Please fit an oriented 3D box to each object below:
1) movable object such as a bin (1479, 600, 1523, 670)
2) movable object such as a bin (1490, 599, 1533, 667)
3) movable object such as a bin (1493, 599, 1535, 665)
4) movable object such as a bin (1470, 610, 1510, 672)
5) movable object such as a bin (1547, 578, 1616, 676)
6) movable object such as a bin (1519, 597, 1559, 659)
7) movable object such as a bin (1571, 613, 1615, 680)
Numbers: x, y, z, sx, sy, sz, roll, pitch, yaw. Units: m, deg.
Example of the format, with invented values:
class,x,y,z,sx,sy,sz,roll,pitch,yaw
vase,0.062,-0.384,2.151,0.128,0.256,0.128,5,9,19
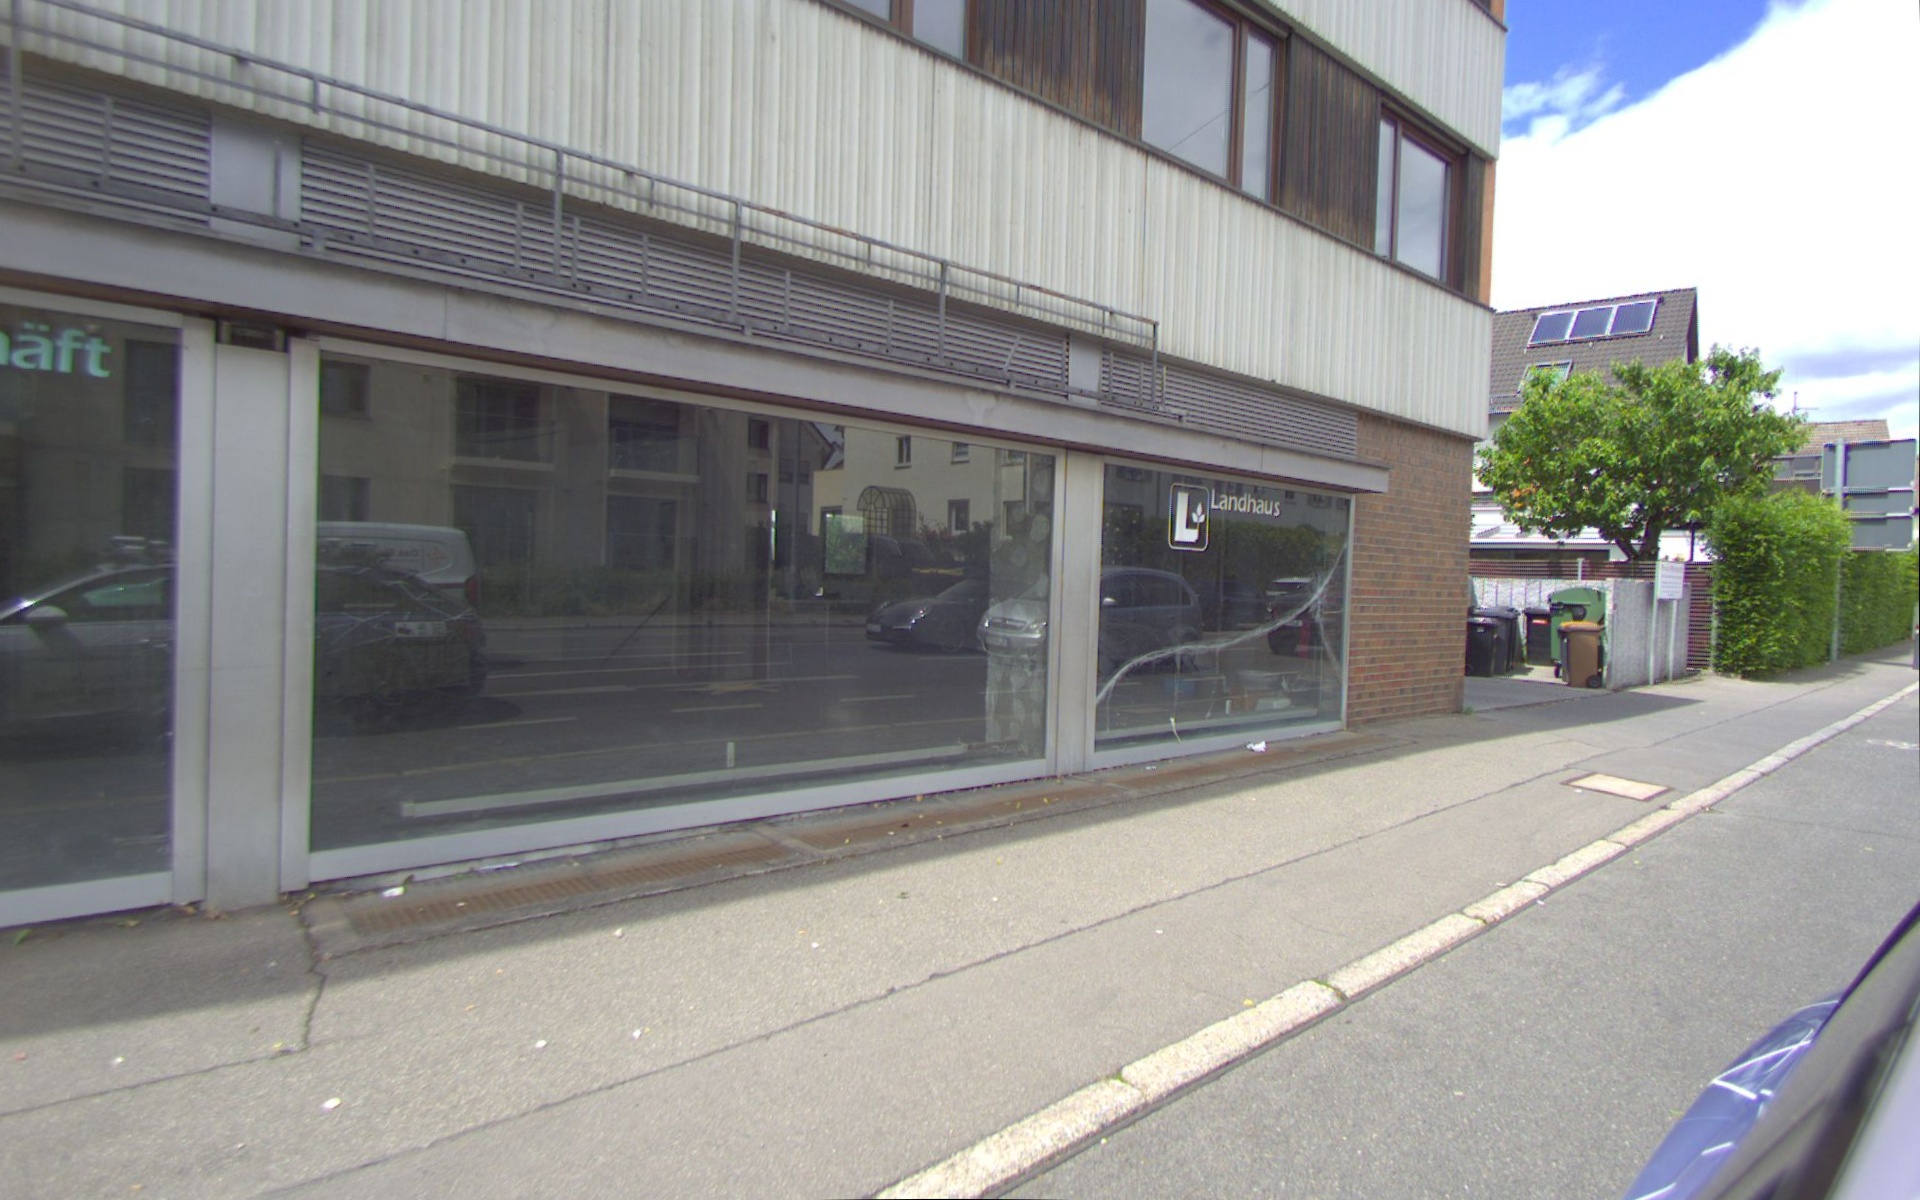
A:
class,x,y,z,sx,sy,sz,roll,pitch,yaw
movable object such as a bin,8.748,0.553,16.386,0.590,1.088,0.485,1,1,25
movable object such as a bin,9.155,0.537,16.815,0.590,1.088,0.485,1,1,25
movable object such as a bin,9.452,0.532,17.279,0.590,1.088,0.485,1,1,25
movable object such as a bin,8.376,0.637,16.008,0.513,0.933,0.475,1,1,25
movable object such as a bin,9.633,0.398,15.681,0.471,1.473,0.808,0,1,-45
movable object such as a bin,10.449,0.489,18.269,0.591,1.088,0.484,1,1,30
movable object such as a bin,9.230,0.673,14.769,0.514,0.933,0.474,1,1,31
